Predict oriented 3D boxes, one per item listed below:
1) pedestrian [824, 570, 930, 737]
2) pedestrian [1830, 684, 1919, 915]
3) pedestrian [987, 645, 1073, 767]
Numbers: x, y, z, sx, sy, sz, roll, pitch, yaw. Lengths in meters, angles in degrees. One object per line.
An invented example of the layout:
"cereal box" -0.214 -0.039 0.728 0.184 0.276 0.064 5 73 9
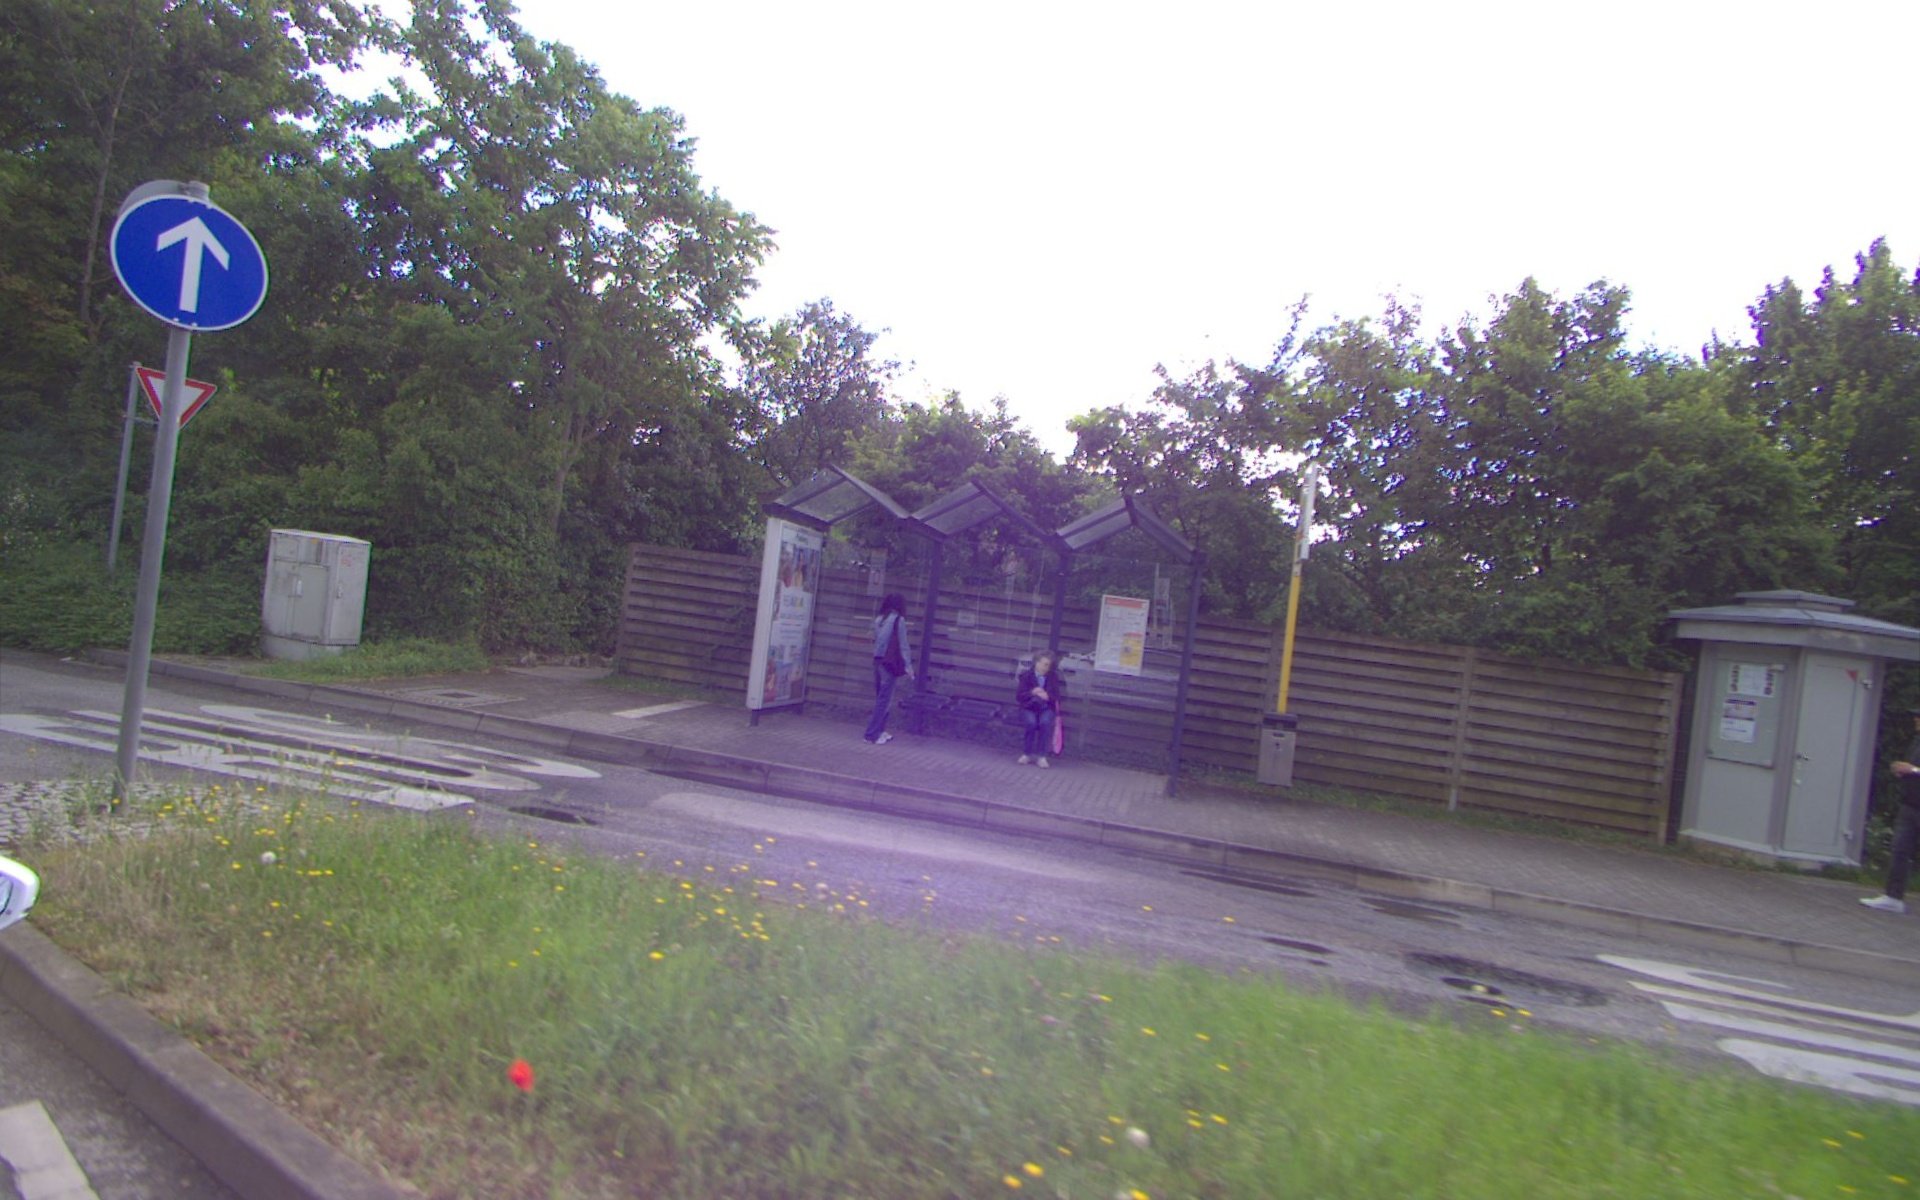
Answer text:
"pedestrian" -0.890 0.568 10.888 0.757 1.670 0.687 7 0 17
"pedestrian" 8.411 1.737 8.587 0.967 1.843 0.857 9 0 -2
"pedestrian" 0.777 1.121 10.909 0.756 1.184 0.751 7 0 7
